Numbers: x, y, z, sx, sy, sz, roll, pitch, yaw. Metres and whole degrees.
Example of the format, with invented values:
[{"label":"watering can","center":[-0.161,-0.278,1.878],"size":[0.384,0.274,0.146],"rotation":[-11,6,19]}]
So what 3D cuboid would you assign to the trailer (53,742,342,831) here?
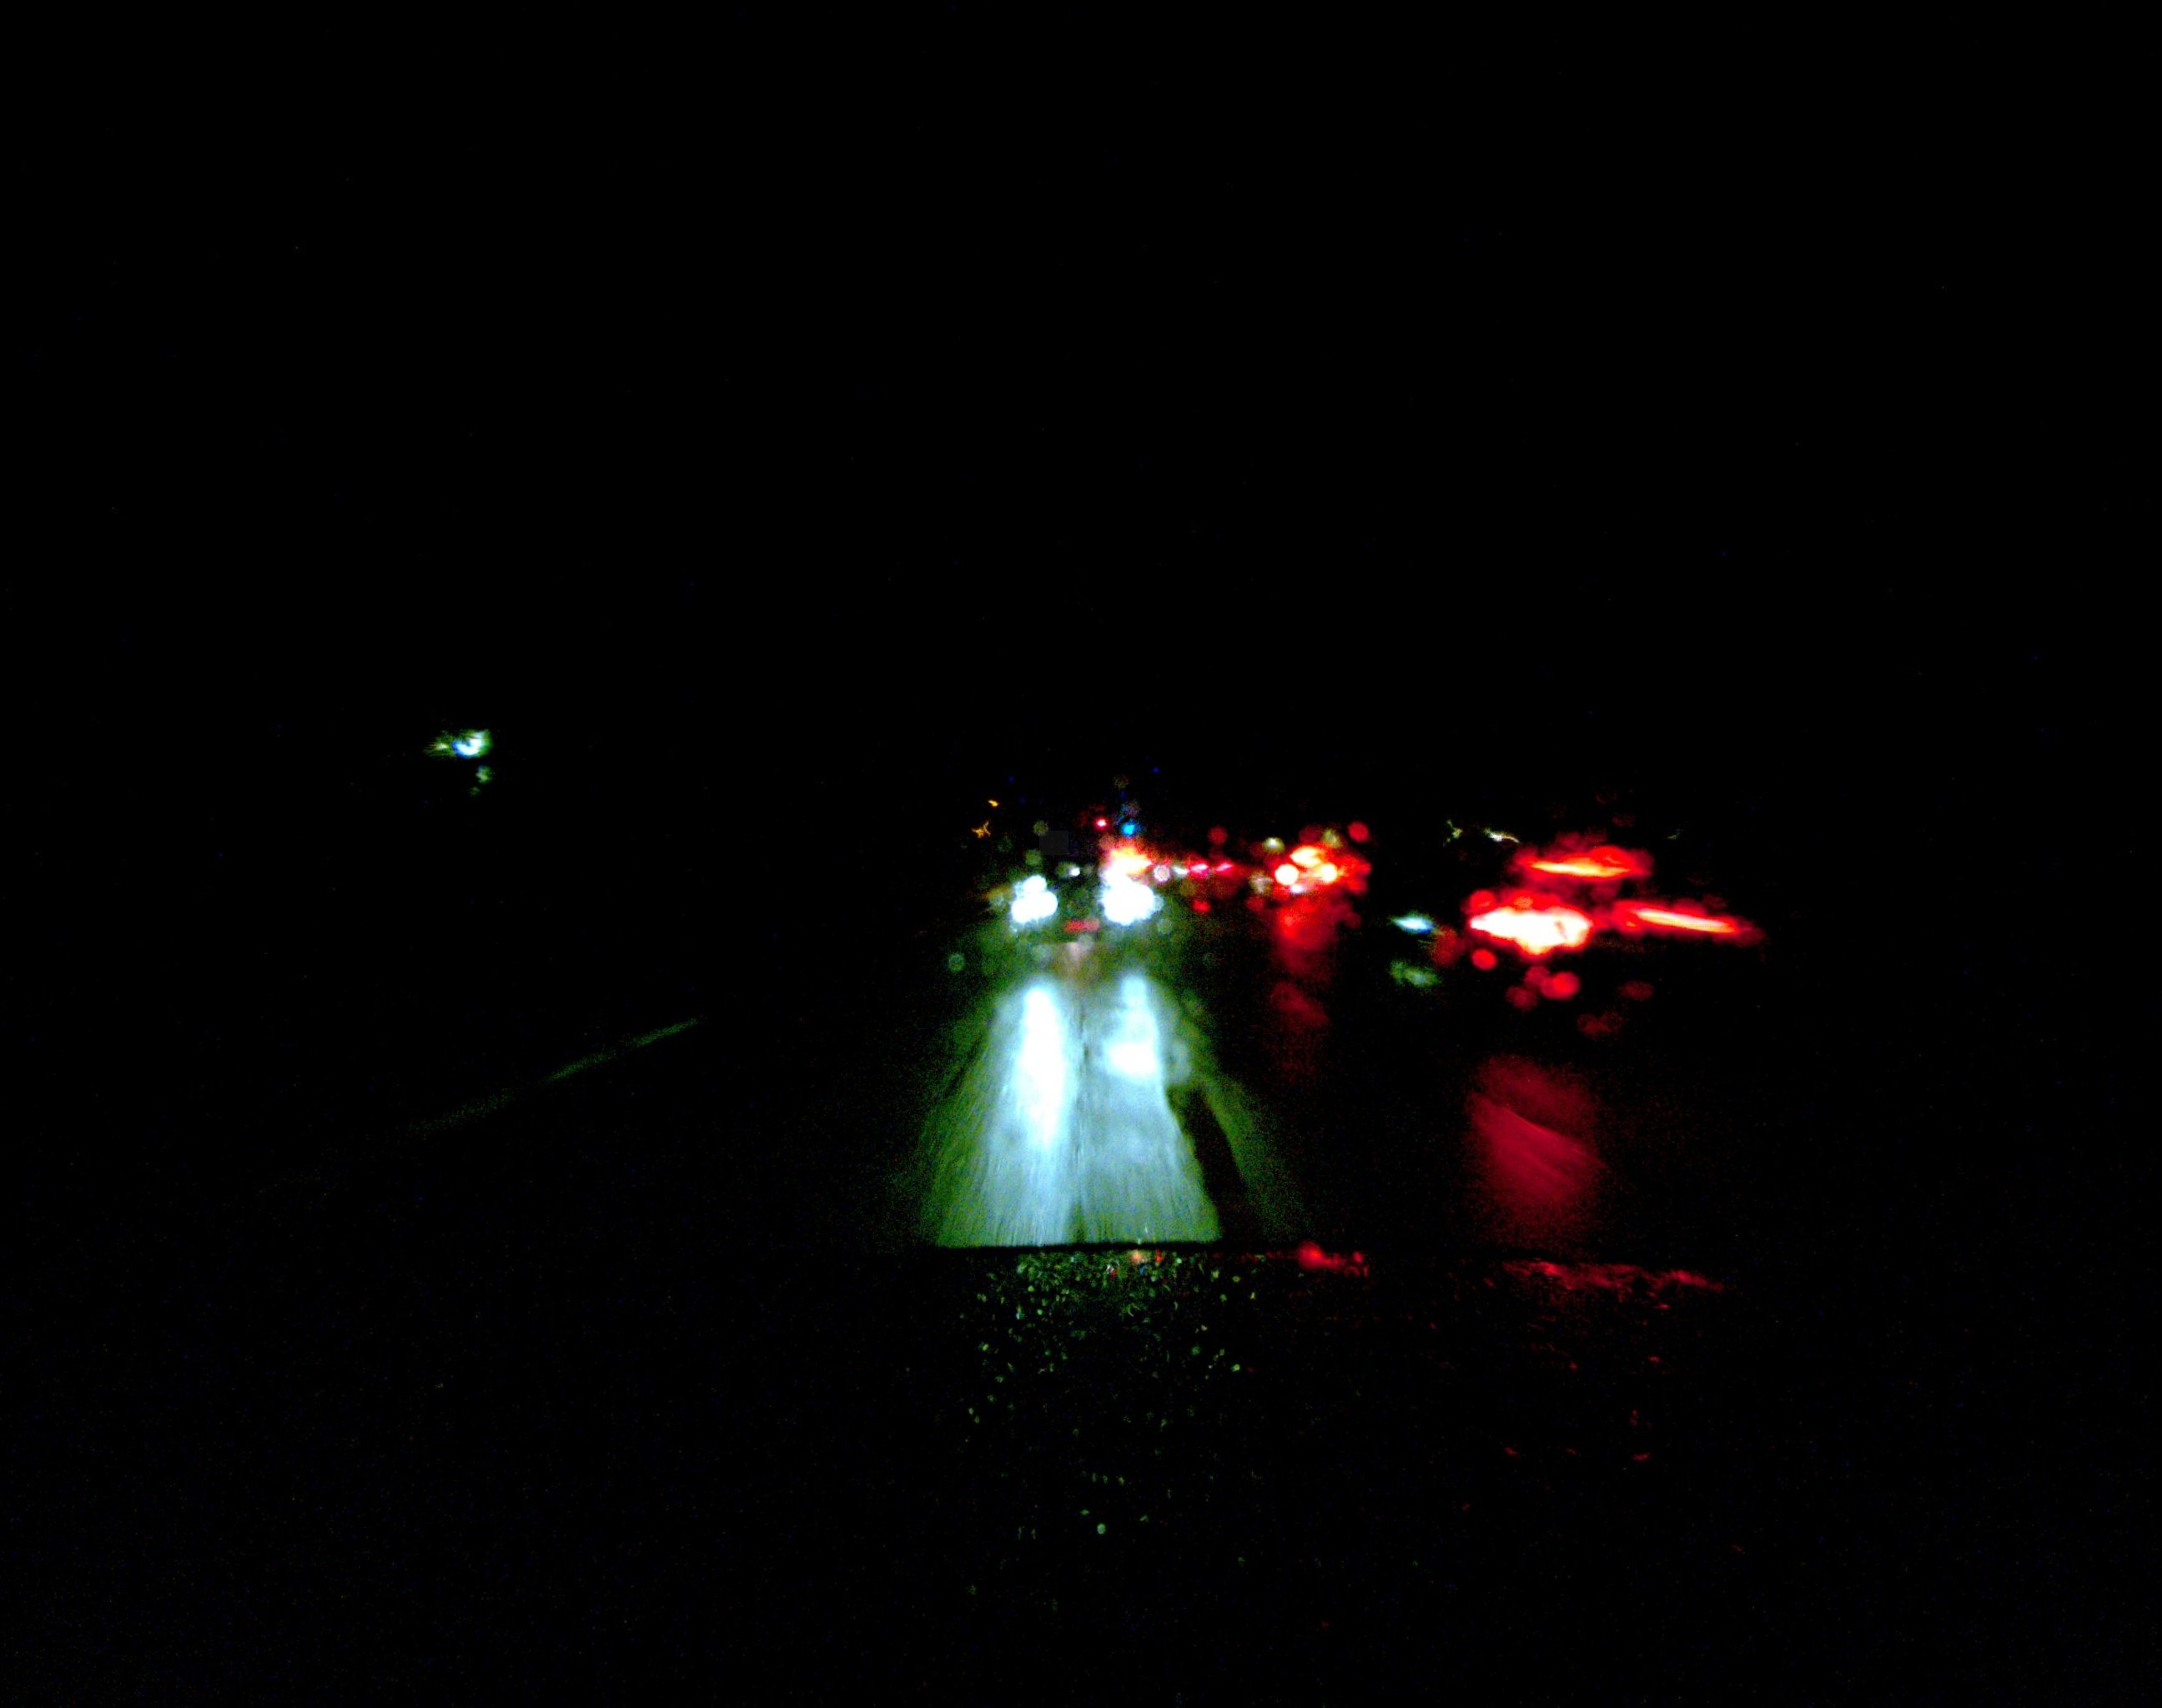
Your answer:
[{"label":"trailer","center":[-24.801,-1.788,21.823],"size":[2.233,2.060,5.715],"rotation":[-2,1,-10]}]

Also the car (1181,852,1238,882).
[{"label":"car","center":[6.730,0.656,40.417],"size":[2.082,1.441,4.991],"rotation":[-2,0,0]}]

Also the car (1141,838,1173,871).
[{"label":"car","center":[6.704,0.022,67.513],"size":[2.128,2.692,6.240],"rotation":[-2,0,0]}]

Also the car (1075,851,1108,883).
[{"label":"car","center":[0.718,0.740,47.058],"size":[1.759,1.807,4.711],"rotation":[-3,0,3]}]

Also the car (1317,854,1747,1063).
[{"label":"car","center":[4.041,0.779,7.801],"size":[1.699,1.426,4.291],"rotation":[-3,1,-2]}]

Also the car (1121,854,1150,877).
[{"label":"car","center":[4.079,0.822,57.656],"size":[1.809,1.620,4.415],"rotation":[-2,0,0]}]

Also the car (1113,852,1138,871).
[{"label":"car","center":[3.835,0.624,65.743],"size":[1.848,1.565,4.596],"rotation":[-2,0,0]}]

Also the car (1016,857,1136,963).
[{"label":"car","center":[0.093,0.877,14.105],"size":[1.809,1.590,4.788],"rotation":[-1,0,4]}]

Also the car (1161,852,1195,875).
[{"label":"car","center":[6.904,0.623,54.356],"size":[1.883,1.528,3.988],"rotation":[-2,0,1]}]

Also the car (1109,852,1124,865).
[{"label":"car","center":[4.140,0.559,89.951],"size":[1.626,1.464,3.885],"rotation":[-2,0,1]}]

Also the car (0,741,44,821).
[{"label":"car","center":[-23.115,-1.514,14.513],"size":[1.618,1.630,3.995],"rotation":[-2,1,-13]}]

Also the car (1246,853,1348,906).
[{"label":"car","center":[6.697,0.726,24.063],"size":[1.923,1.435,4.545],"rotation":[-2,0,0]}]

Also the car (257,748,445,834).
[{"label":"car","center":[-25.863,-2.123,27.278],"size":[2.121,2.620,5.445],"rotation":[-2,1,-10]}]
